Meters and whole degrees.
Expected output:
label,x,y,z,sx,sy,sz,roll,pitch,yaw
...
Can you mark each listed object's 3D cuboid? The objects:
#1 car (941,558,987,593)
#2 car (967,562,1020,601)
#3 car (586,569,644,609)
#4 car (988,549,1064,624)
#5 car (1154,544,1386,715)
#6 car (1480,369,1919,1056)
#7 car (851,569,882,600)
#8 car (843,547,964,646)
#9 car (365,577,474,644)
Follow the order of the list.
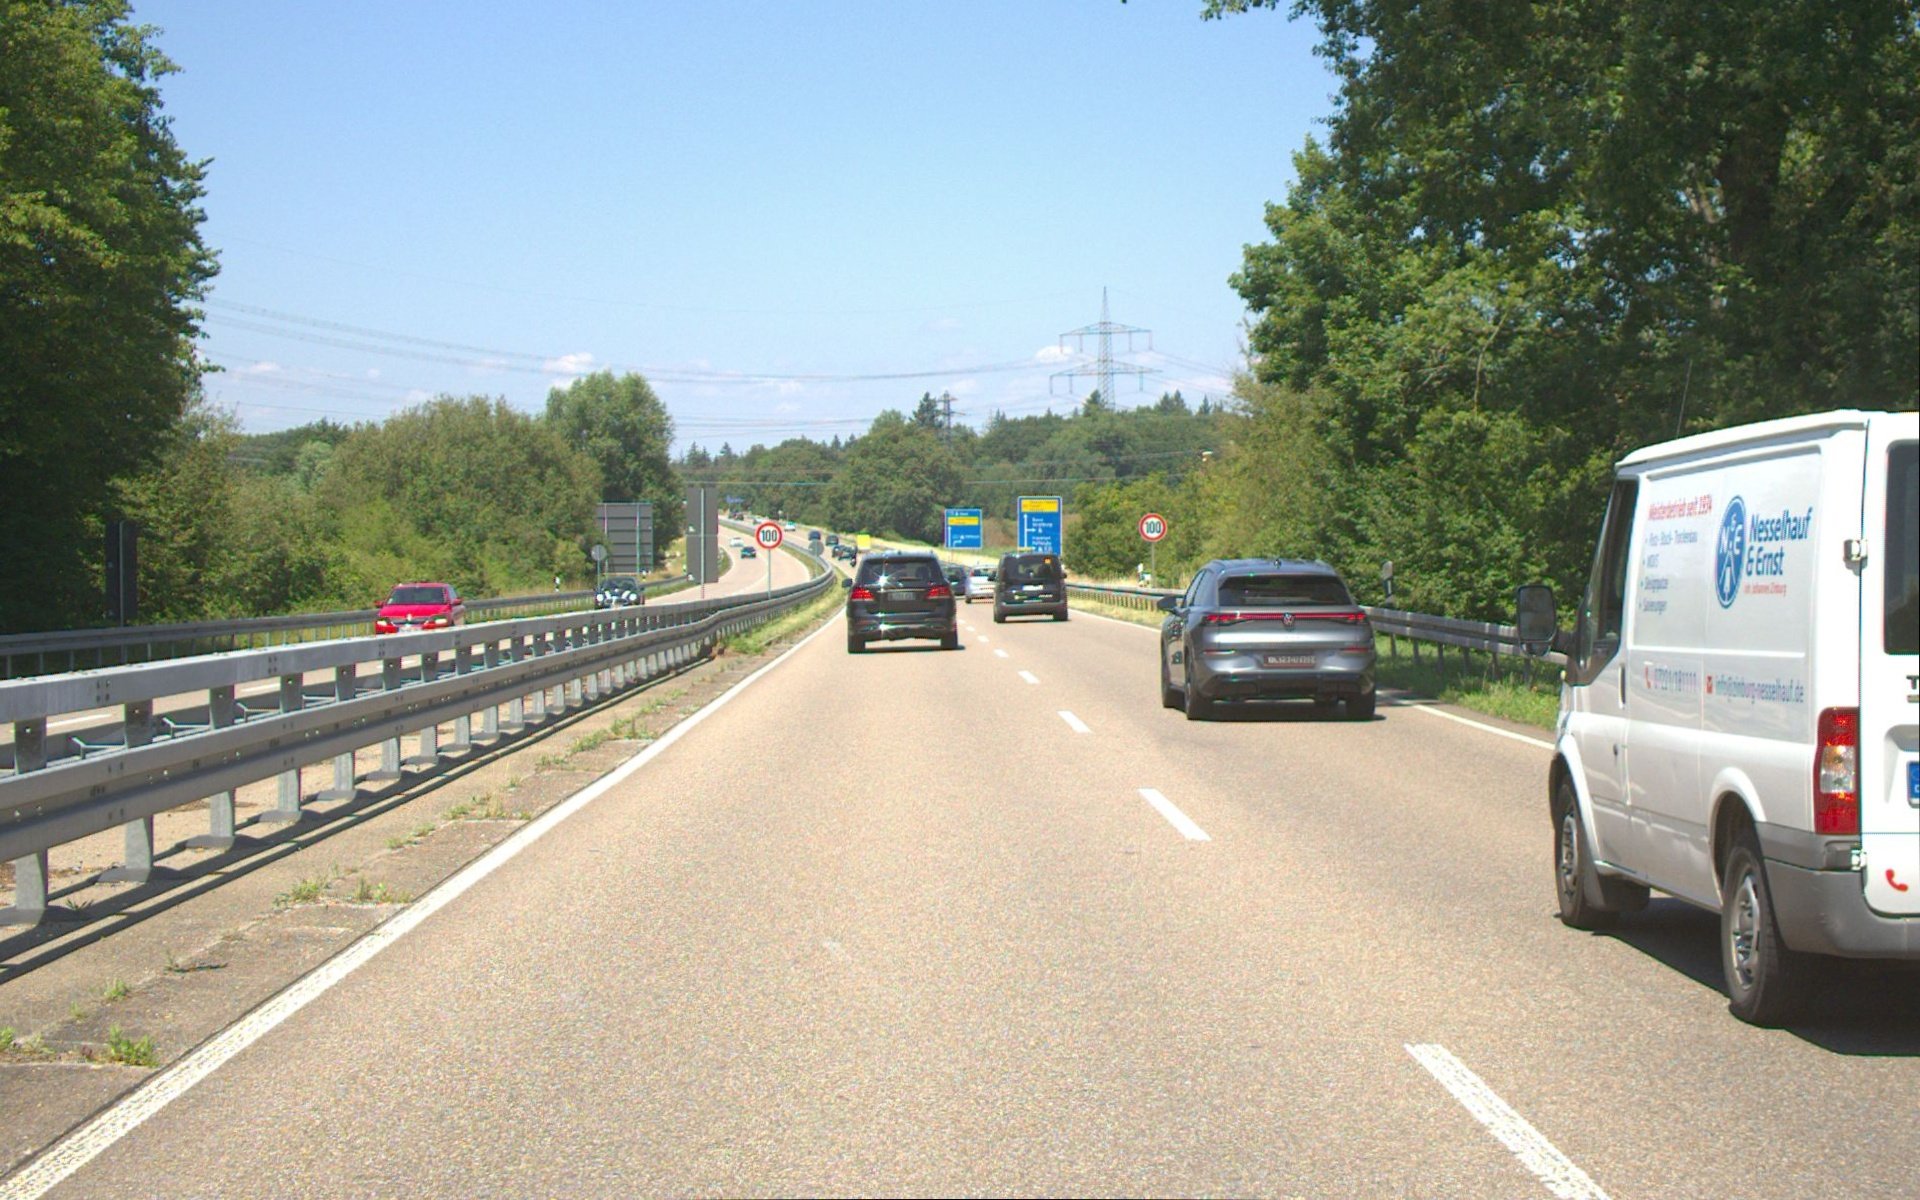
label,x,y,z,sx,sy,sz,roll,pitch,yaw
car,0.140,-1.055,147.604,1.819,1.409,4.001,-1,1,-2
car,1.292,-0.727,134.807,1.779,1.474,4.316,1,1,-3
car,-12.896,-0.416,128.781,1.797,1.463,3.773,1,1,0
car,1.683,-0.371,88.713,1.779,1.810,4.213,-1,1,-1
car,2.987,0.241,33.844,1.785,1.548,4.020,0,1,-2
car,3.398,0.292,12.501,2.005,1.982,5.035,-2,0,-2
car,-4.823,-0.790,176.841,1.514,1.470,3.066,2,1,-3
car,-1.031,-0.085,60.824,1.993,1.649,4.000,1,1,-3
car,-11.969,0.205,76.349,1.776,1.414,4.575,-1,0,-1
